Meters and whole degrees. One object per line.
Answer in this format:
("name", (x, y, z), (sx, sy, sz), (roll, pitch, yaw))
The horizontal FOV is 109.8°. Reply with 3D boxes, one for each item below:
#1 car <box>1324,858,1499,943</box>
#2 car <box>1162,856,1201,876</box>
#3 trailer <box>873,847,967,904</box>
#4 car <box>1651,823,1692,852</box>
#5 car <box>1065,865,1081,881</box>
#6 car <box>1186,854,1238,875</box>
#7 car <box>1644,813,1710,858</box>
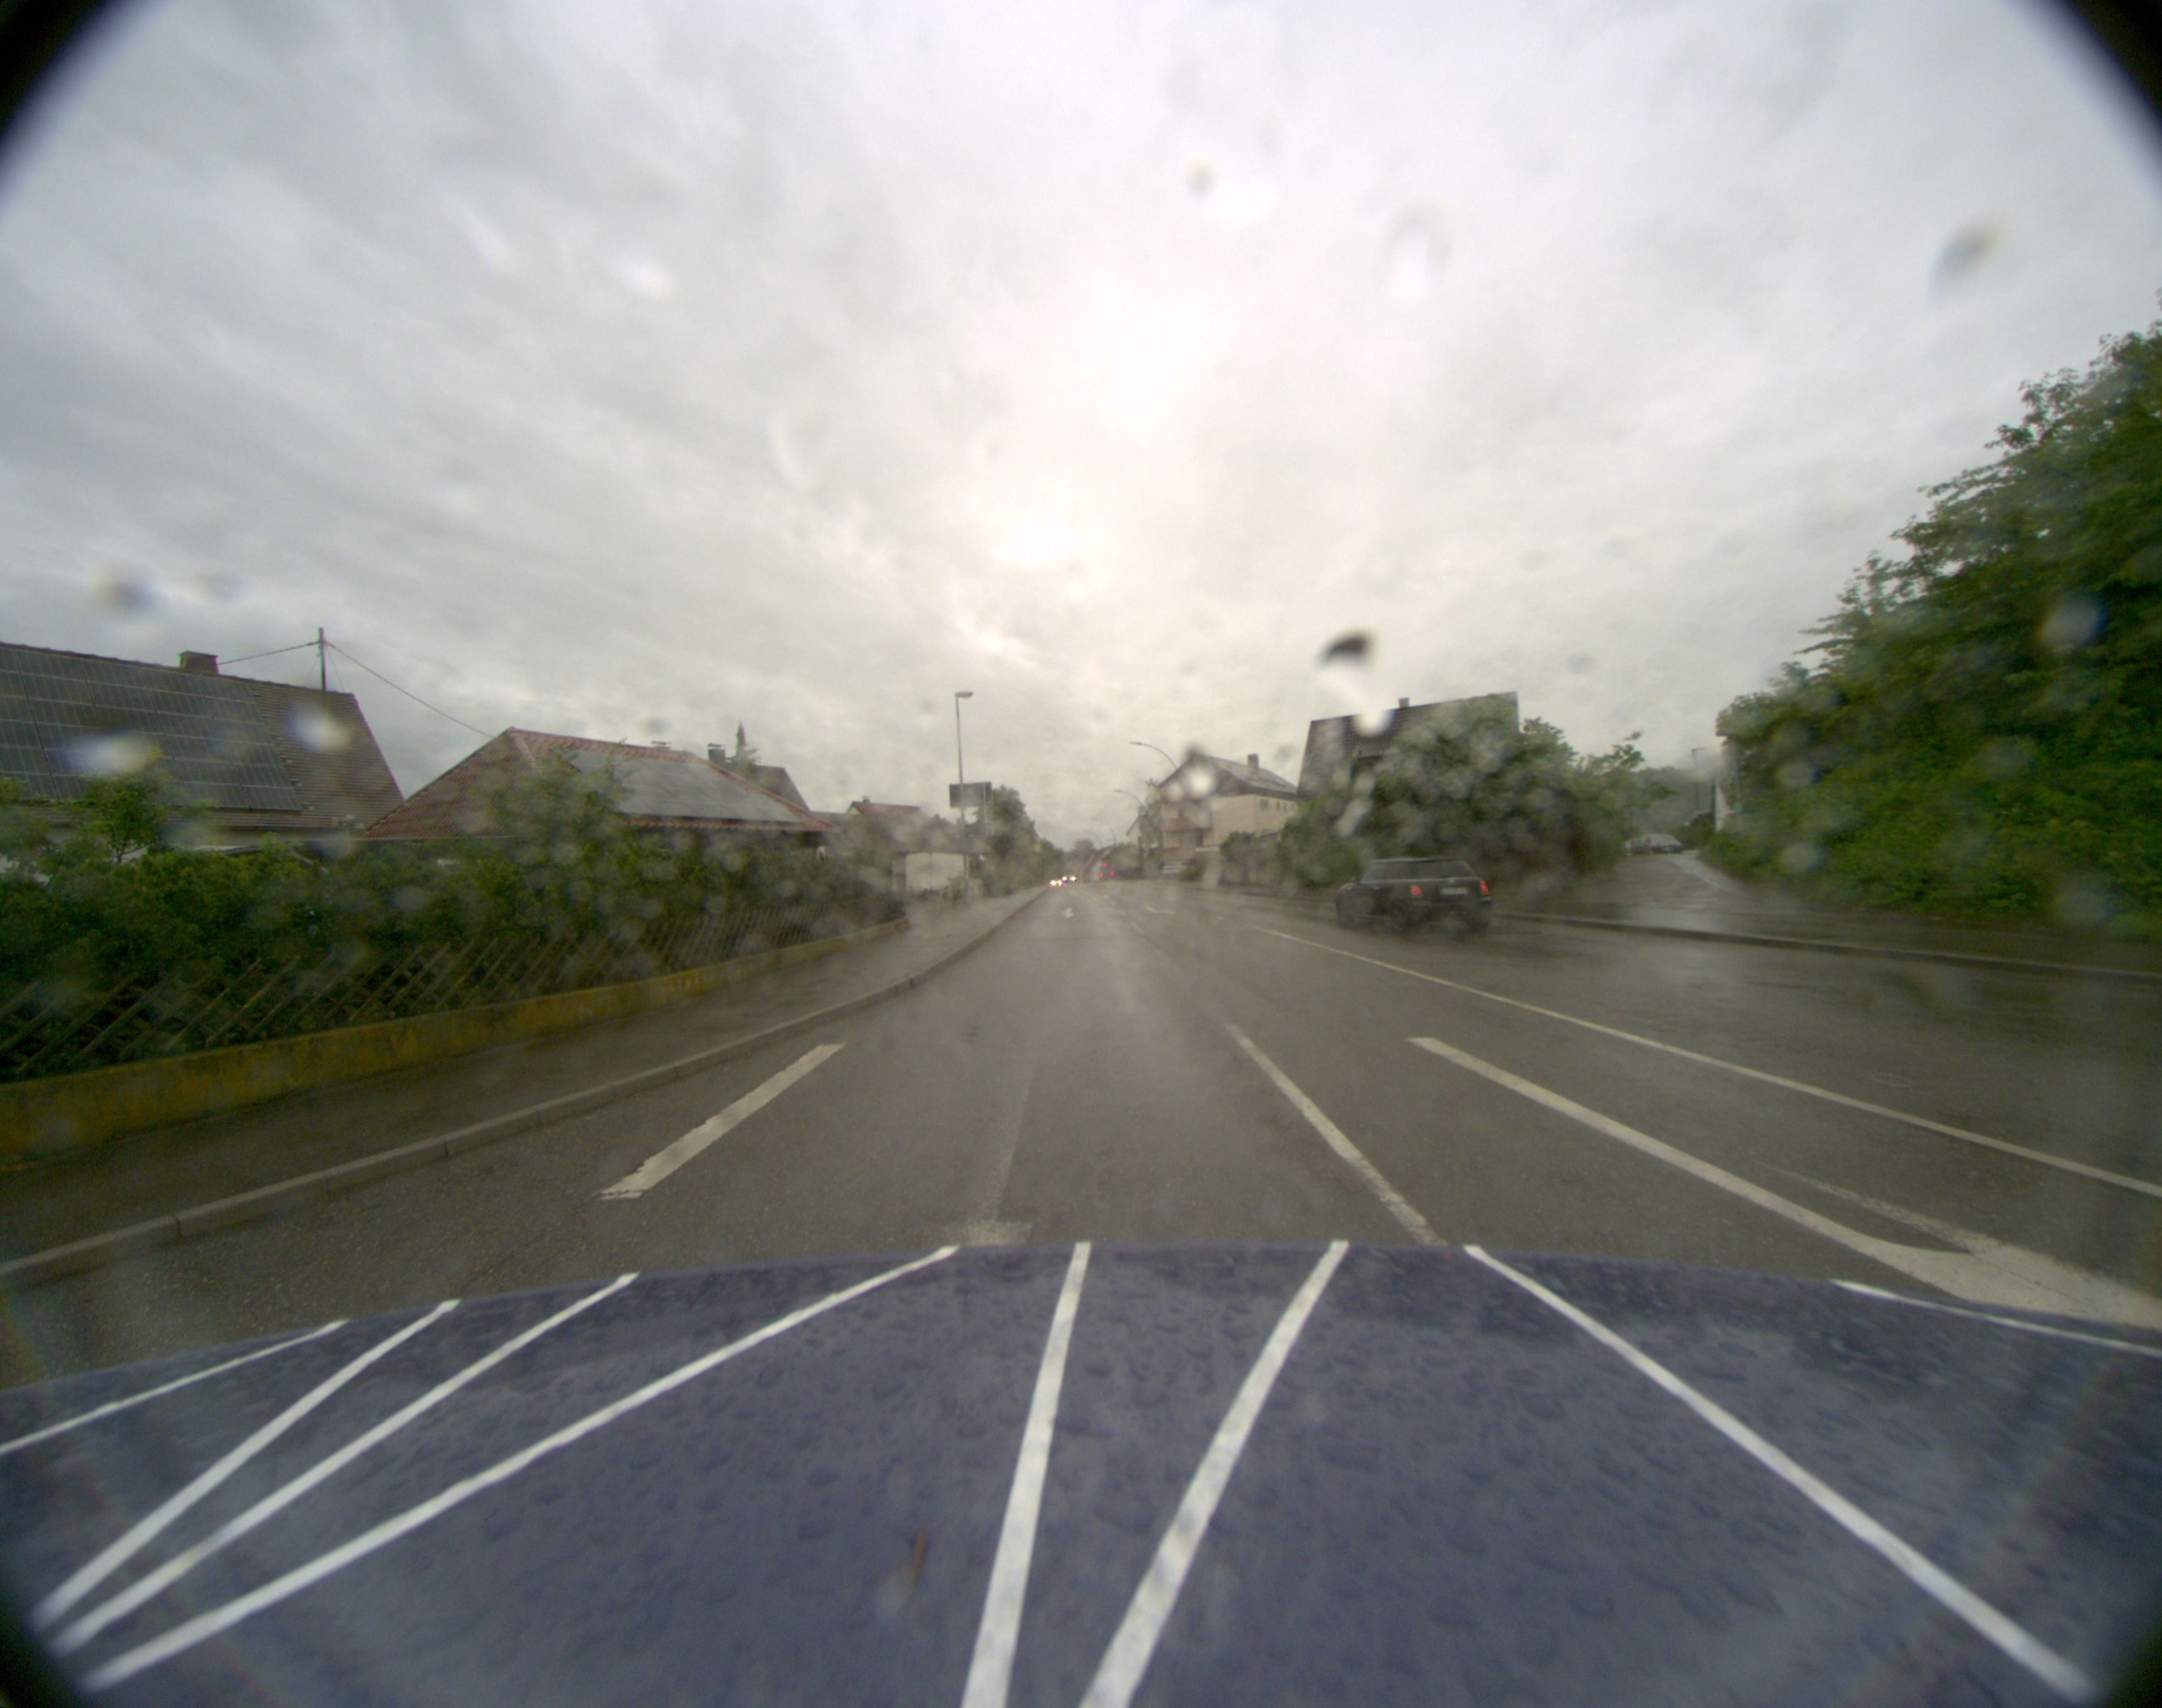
("car", (6.357, 0.822, 15.039), (1.681, 1.379, 3.459), (-3, 0, -5))
("car", (8.922, 1.048, 67.076), (1.864, 1.510, 4.007), (-3, 0, 32))
("trailer", (-7.726, 0.997, 36.965), (1.645, 2.502, 4.712), (-3, -1, 29))
("car", (41.126, -1.166, 52.863), (1.995, 1.848, 4.008), (-3, 0, 41))
("car", (-1.044, 2.618, 104.798), (1.998, 2.002, 4.000), (-3, 0, 1))
("car", (10.547, 0.843, 61.334), (3.661, 1.510, 1.758), (-3, 0, 35))
("car", (22.964, -0.714, 29.224), (1.706, 1.579, 3.669), (-2, 0, 42))
